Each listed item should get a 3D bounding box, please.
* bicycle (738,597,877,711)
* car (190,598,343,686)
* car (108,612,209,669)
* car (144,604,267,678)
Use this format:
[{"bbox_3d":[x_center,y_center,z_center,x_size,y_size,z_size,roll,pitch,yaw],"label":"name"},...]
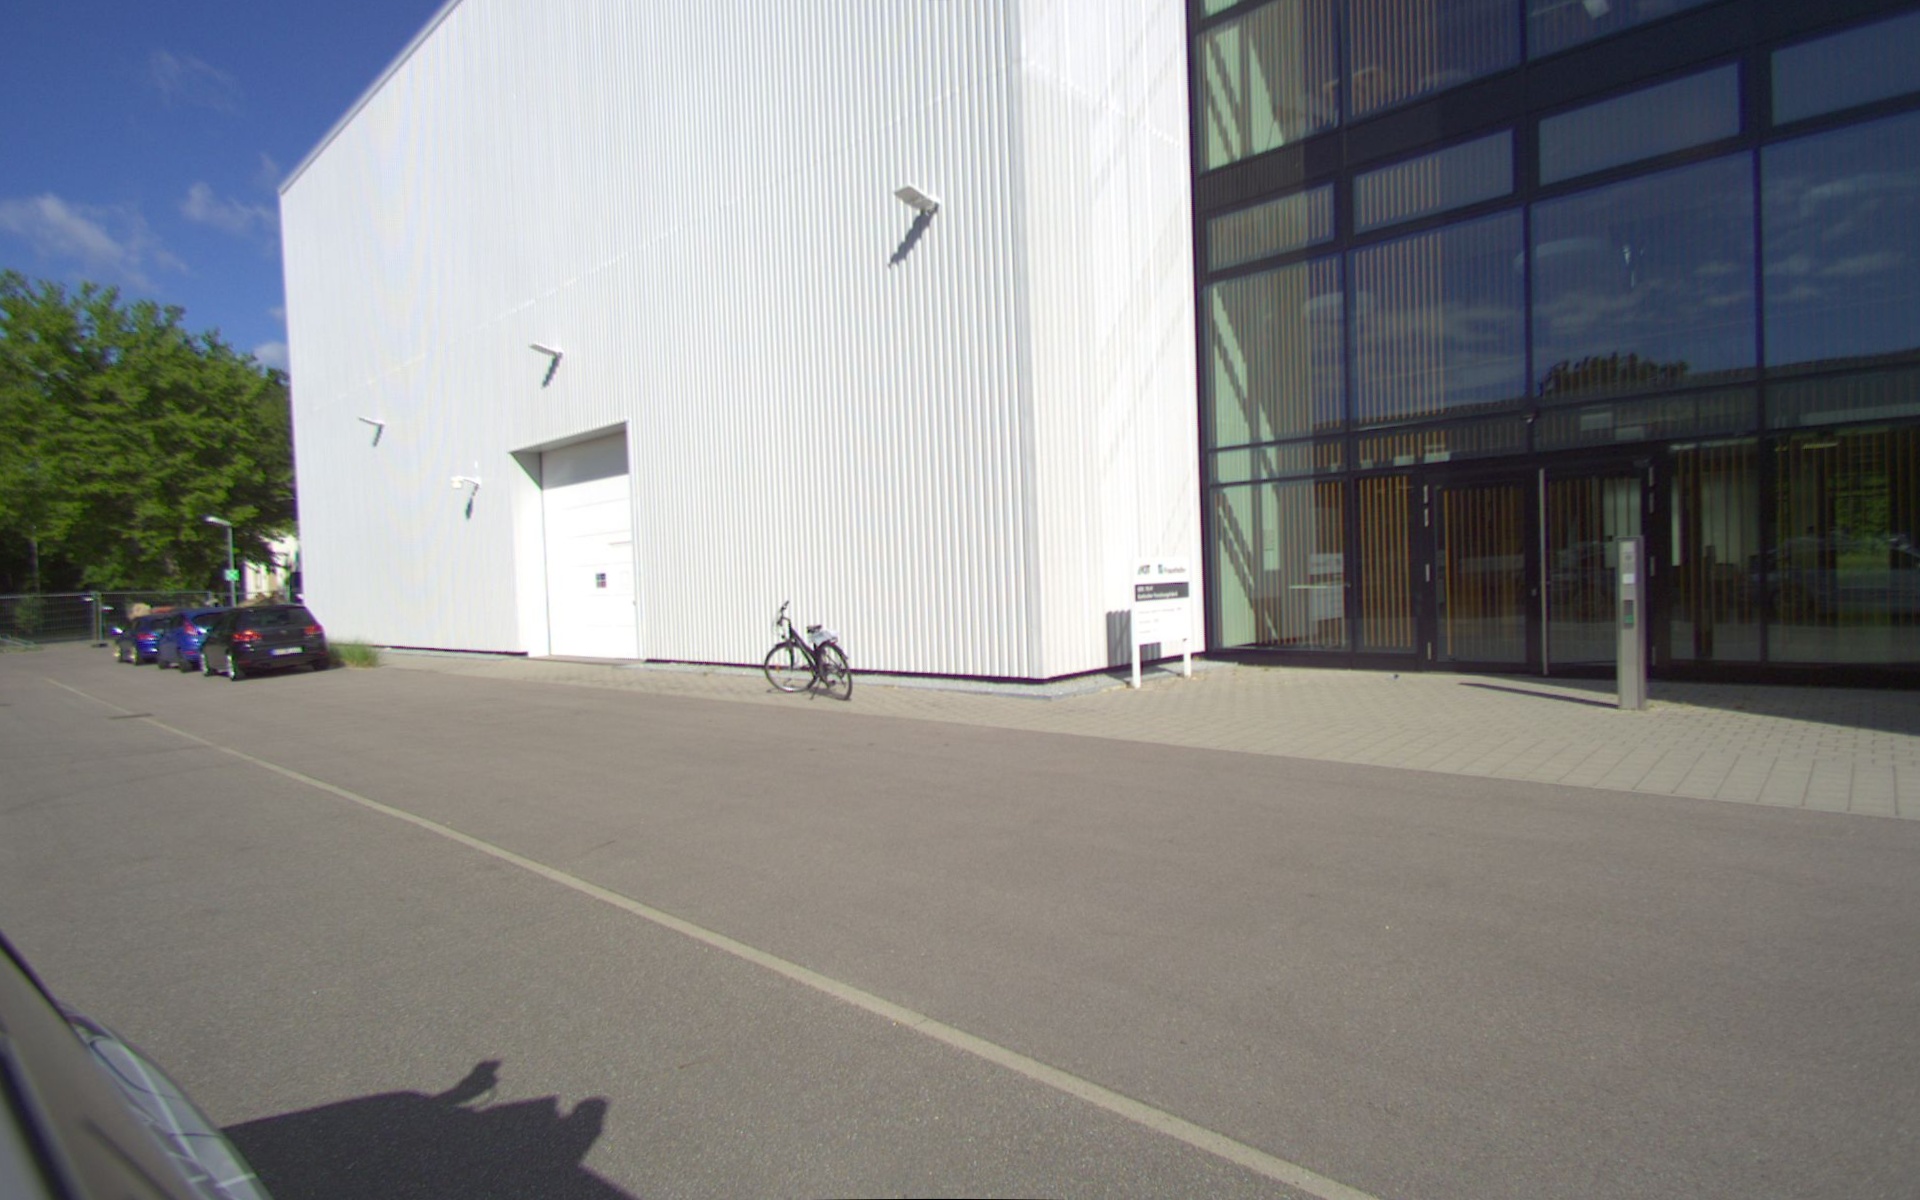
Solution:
[{"bbox_3d":[-1.869,0.594,12.171,0.895,1.151,1.905,-6,4,-32],"label":"bicycle"},{"bbox_3d":[-14.839,0.838,21.581,4.002,1.533,1.870,-1,4,45],"label":"car"},{"bbox_3d":[-22.830,1.098,28.771,4.002,1.451,1.765,-1,0,45],"label":"car"},{"bbox_3d":[-18.752,0.958,25.081,4.002,1.533,1.766,-1,4,45],"label":"car"}]
